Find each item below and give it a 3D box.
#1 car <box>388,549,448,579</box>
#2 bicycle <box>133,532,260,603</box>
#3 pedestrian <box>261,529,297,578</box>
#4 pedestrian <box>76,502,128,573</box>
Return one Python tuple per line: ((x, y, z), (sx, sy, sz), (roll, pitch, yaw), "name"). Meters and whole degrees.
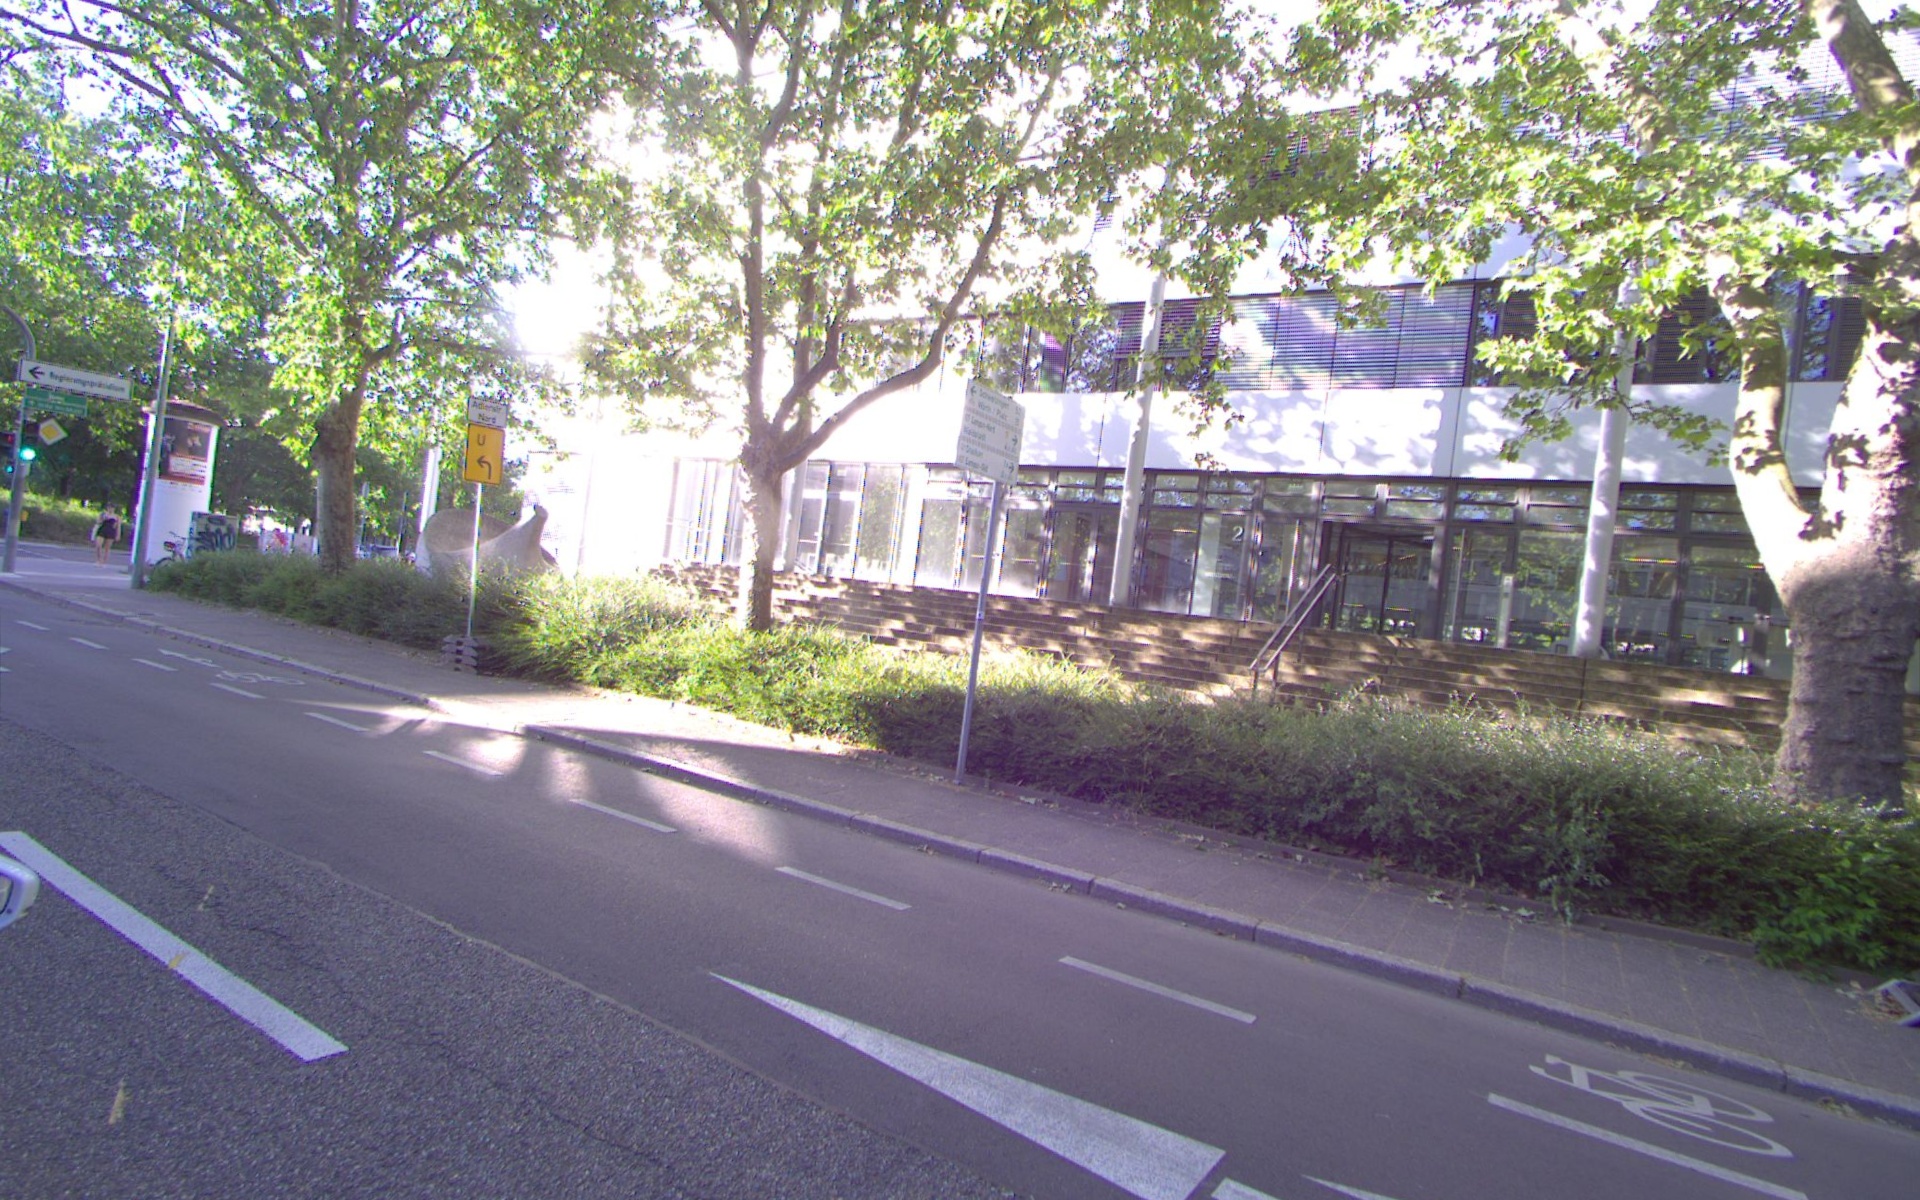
((-35.559, -2.341, 65.968), (3.732, 1.500, 1.633), (6, -2, 31), "car")
((-15.934, -0.655, 21.054), (0.519, 1.203, 1.980), (7, -2, 30), "bicycle")
((-27.632, -1.897, 40.835), (0.674, 1.857, 0.782), (7, -1, 25), "pedestrian")
((-21.507, -1.567, 25.237), (0.795, 1.649, 0.898), (8, -1, -39), "pedestrian")
